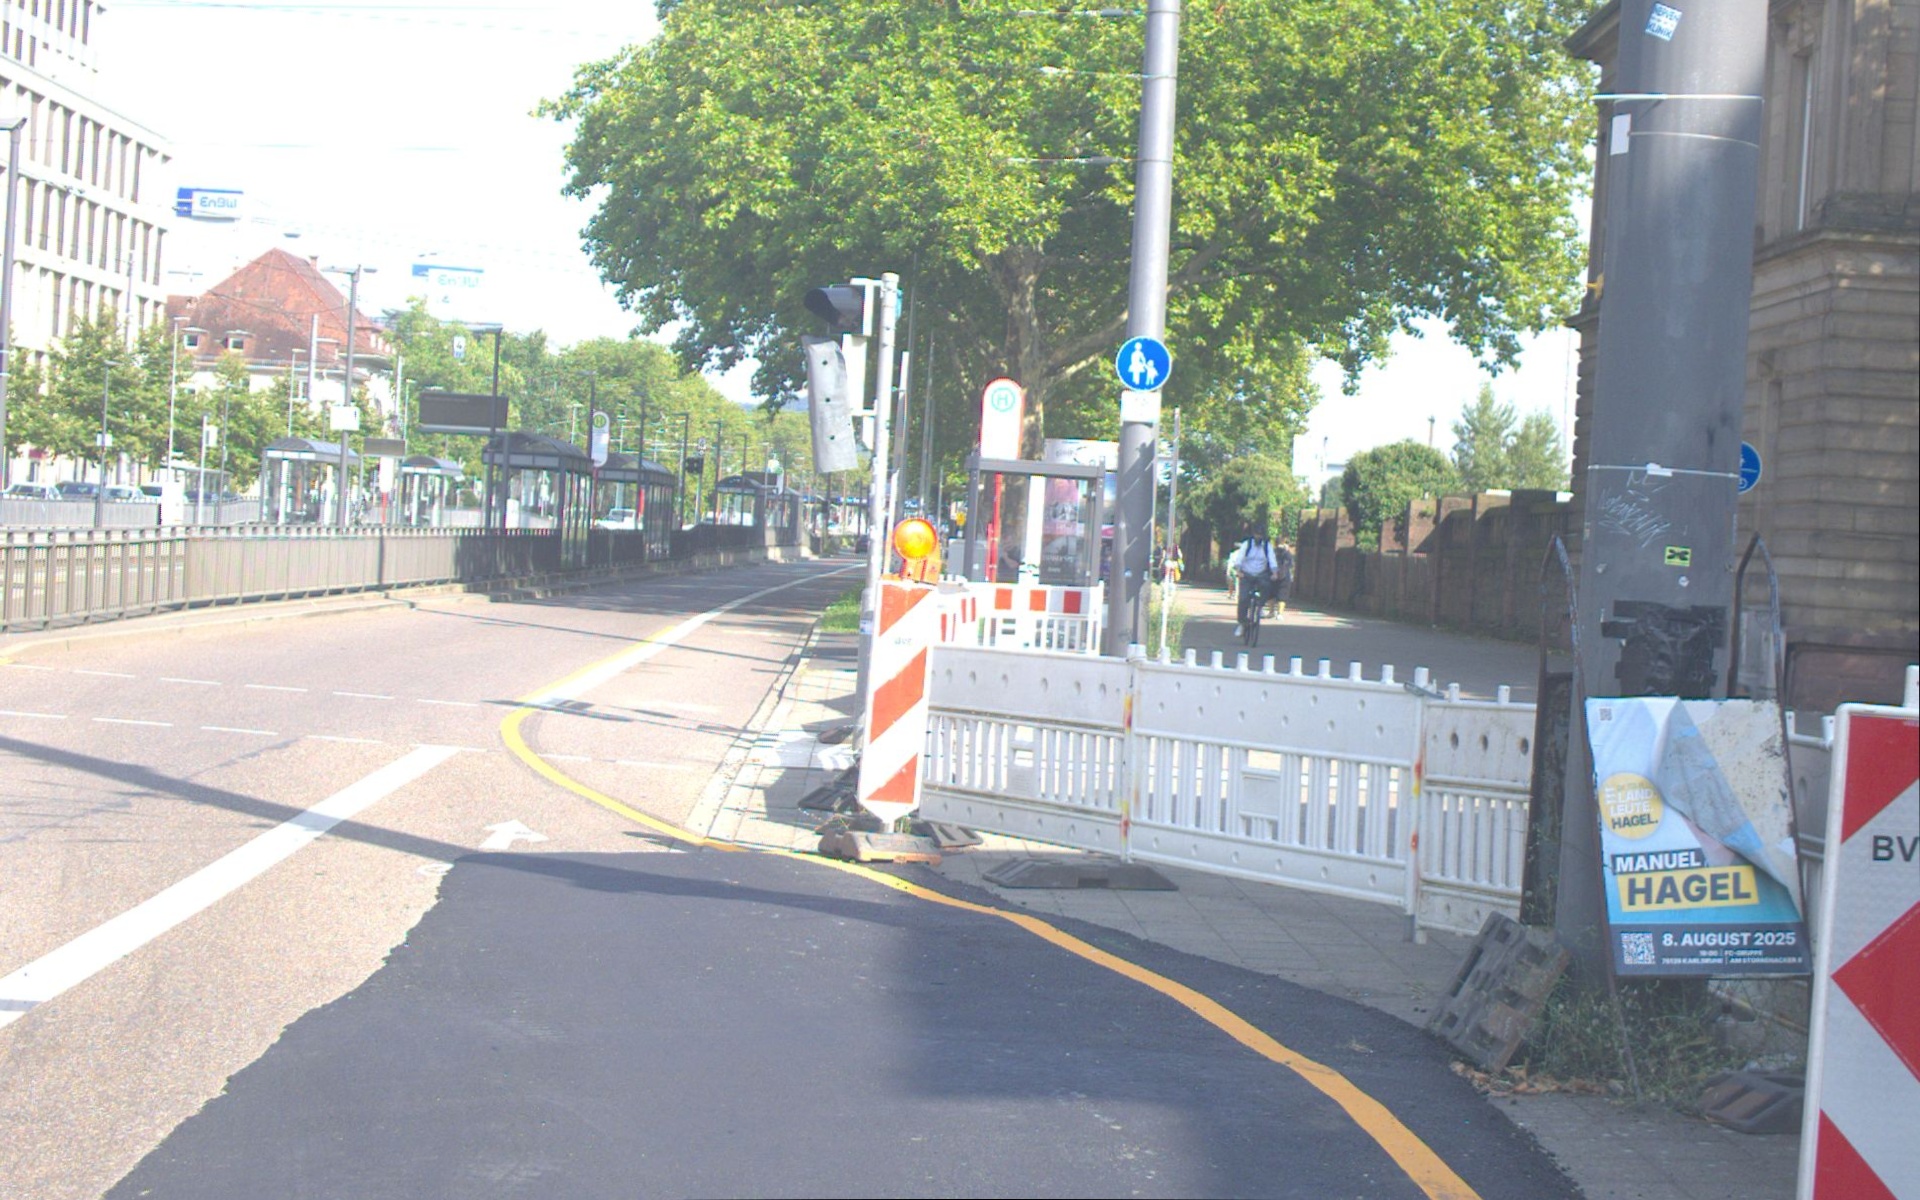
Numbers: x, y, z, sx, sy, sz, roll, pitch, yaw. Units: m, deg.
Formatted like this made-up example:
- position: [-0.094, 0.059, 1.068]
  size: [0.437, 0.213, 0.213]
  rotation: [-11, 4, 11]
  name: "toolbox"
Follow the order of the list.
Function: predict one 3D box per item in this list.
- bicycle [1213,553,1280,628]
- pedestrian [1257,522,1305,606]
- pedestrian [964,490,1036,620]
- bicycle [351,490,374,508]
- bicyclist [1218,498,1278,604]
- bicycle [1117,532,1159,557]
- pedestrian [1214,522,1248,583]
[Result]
- position: [4.322, -0.150, 51.977]
  size: [0.717, 1.038, 1.903]
  rotation: [3, 2, -3]
  name: "bicycle"
- position: [6.542, -0.742, 70.055]
  size: [0.819, 1.680, 1.012]
  rotation: [2, 1, 0]
  name: "pedestrian"
- position: [0.535, -0.603, 45.848]
  size: [0.687, 1.691, 0.649]
  rotation: [2, 1, -21]
  name: "pedestrian"
- position: [-23.297, -3.924, 134.157]
  size: [0.477, 0.660, 1.613]
  rotation: [3, 1, 4]
  name: "bicycle"
- position: [4.350, -0.749, 51.969]
  size: [0.717, 1.538, 0.956]
  rotation: [3, 2, -3]
  name: "bicyclist"
- position: [7.190, -2.253, 138.727]
  size: [1.656, 0.966, 0.506]
  rotation: [1, 1, 6]
  name: "bicycle"
- position: [7.215, -1.279, 91.526]
  size: [0.806, 1.598, 0.947]
  rotation: [2, 1, 0]
  name: "pedestrian"
